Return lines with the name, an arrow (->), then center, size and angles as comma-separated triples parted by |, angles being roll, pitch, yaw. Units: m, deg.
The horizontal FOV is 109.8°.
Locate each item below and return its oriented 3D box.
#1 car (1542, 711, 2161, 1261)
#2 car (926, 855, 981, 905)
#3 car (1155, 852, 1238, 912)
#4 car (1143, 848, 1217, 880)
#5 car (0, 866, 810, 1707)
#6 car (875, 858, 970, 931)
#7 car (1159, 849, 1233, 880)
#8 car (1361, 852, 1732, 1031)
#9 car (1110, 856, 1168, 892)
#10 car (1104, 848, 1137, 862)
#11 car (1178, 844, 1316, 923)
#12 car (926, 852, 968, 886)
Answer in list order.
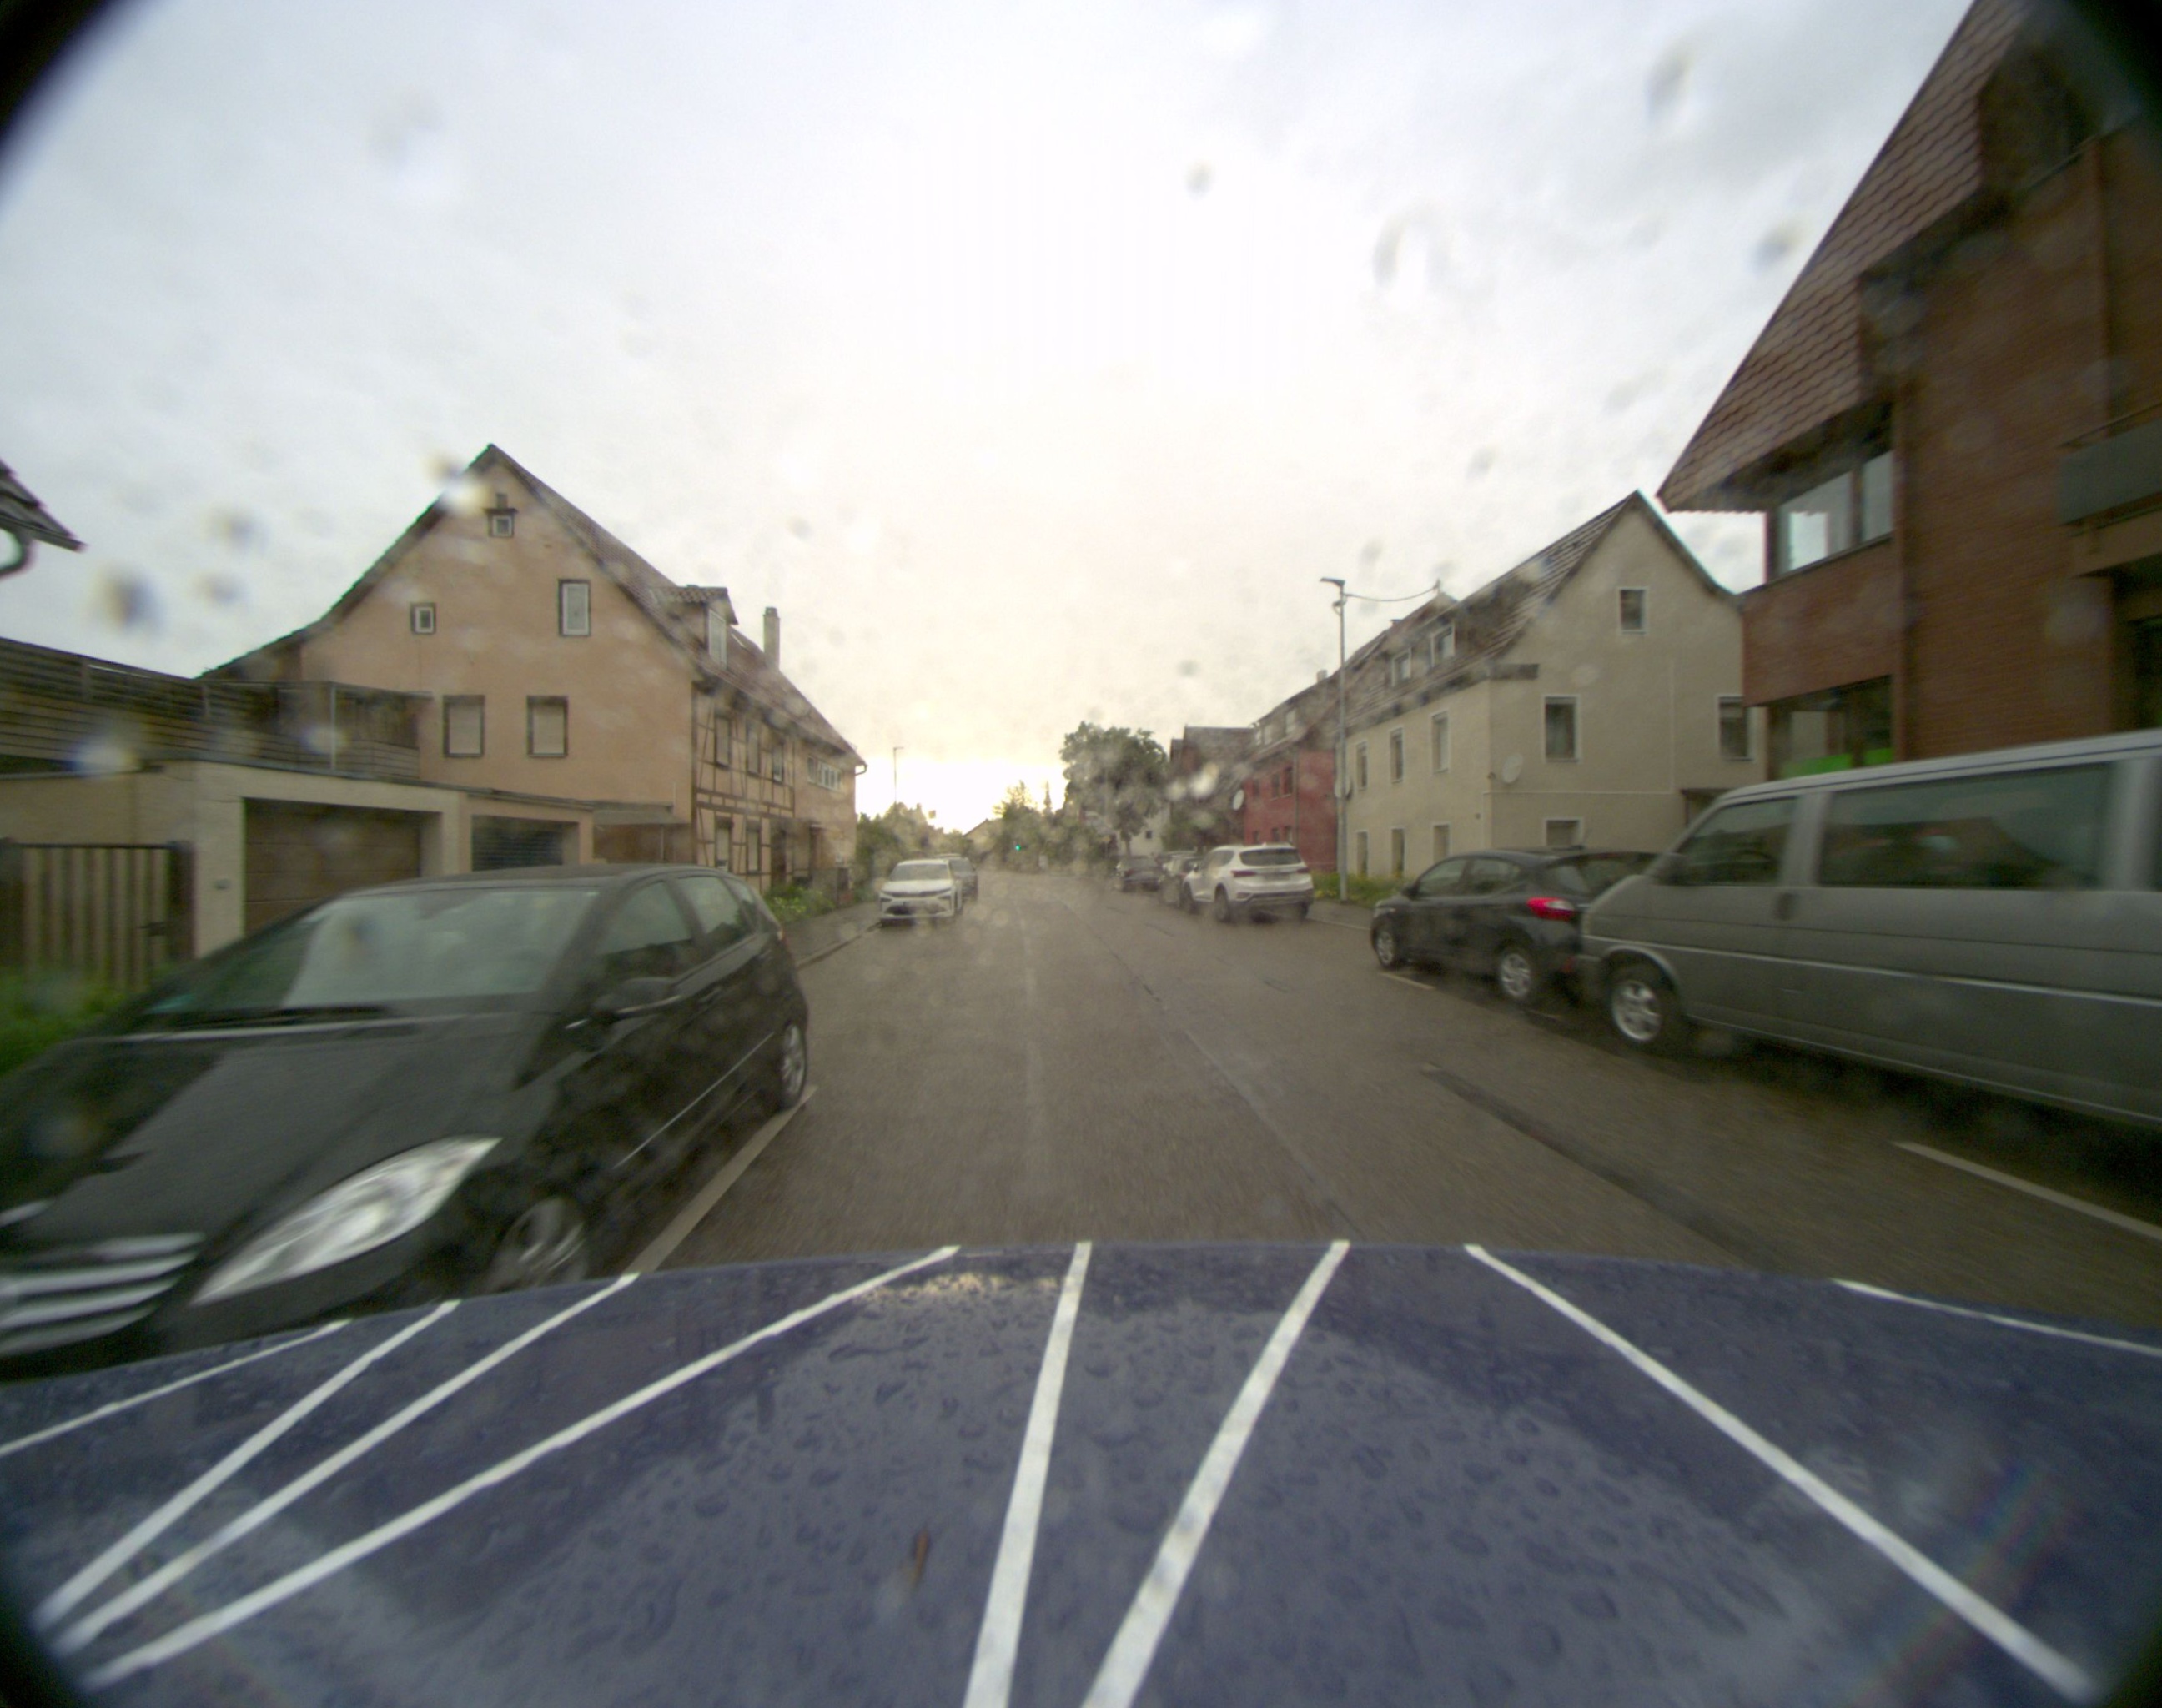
car -> 4.803, 0.455, 3.668 | 1.826, 2.002, 5.213 | -2, 1, -2
car -> -4.945, 0.943, 29.936 | 1.914, 1.707, 4.552 | -3, 1, -8
car -> 3.301, 0.743, 22.291 | 1.610, 1.608, 3.274 | -1, 1, -6
car -> 5.274, 0.502, 40.817 | 3.585, 1.497, 1.855 | -3, 1, -2
car -> -2.602, 0.957, 3.309 | 1.755, 1.700, 3.997 | -1, 0, -6
car -> -4.074, 0.968, 20.240 | 1.808, 1.586, 4.609 | -2, 1, -4
car -> 5.801, 0.508, 38.478 | 3.471, 1.470, 1.590 | -1, 1, -4
car -> 4.658, 0.731, 8.272 | 1.583, 1.488, 3.565 | -1, 0, -7
car -> 2.412, 0.796, 32.397 | 1.631, 1.348, 4.108 | -3, 1, -7
car -> 4.105, 0.119, 79.670 | 1.780, 1.413, 3.617 | -1, 1, -30
car -> 3.740, 0.598, 18.007 | 1.770, 1.610, 4.653 | -1, 0, -7
car -> -8.246, 0.880, 46.378 | 1.938, 1.891, 4.786 | -3, 1, -16
